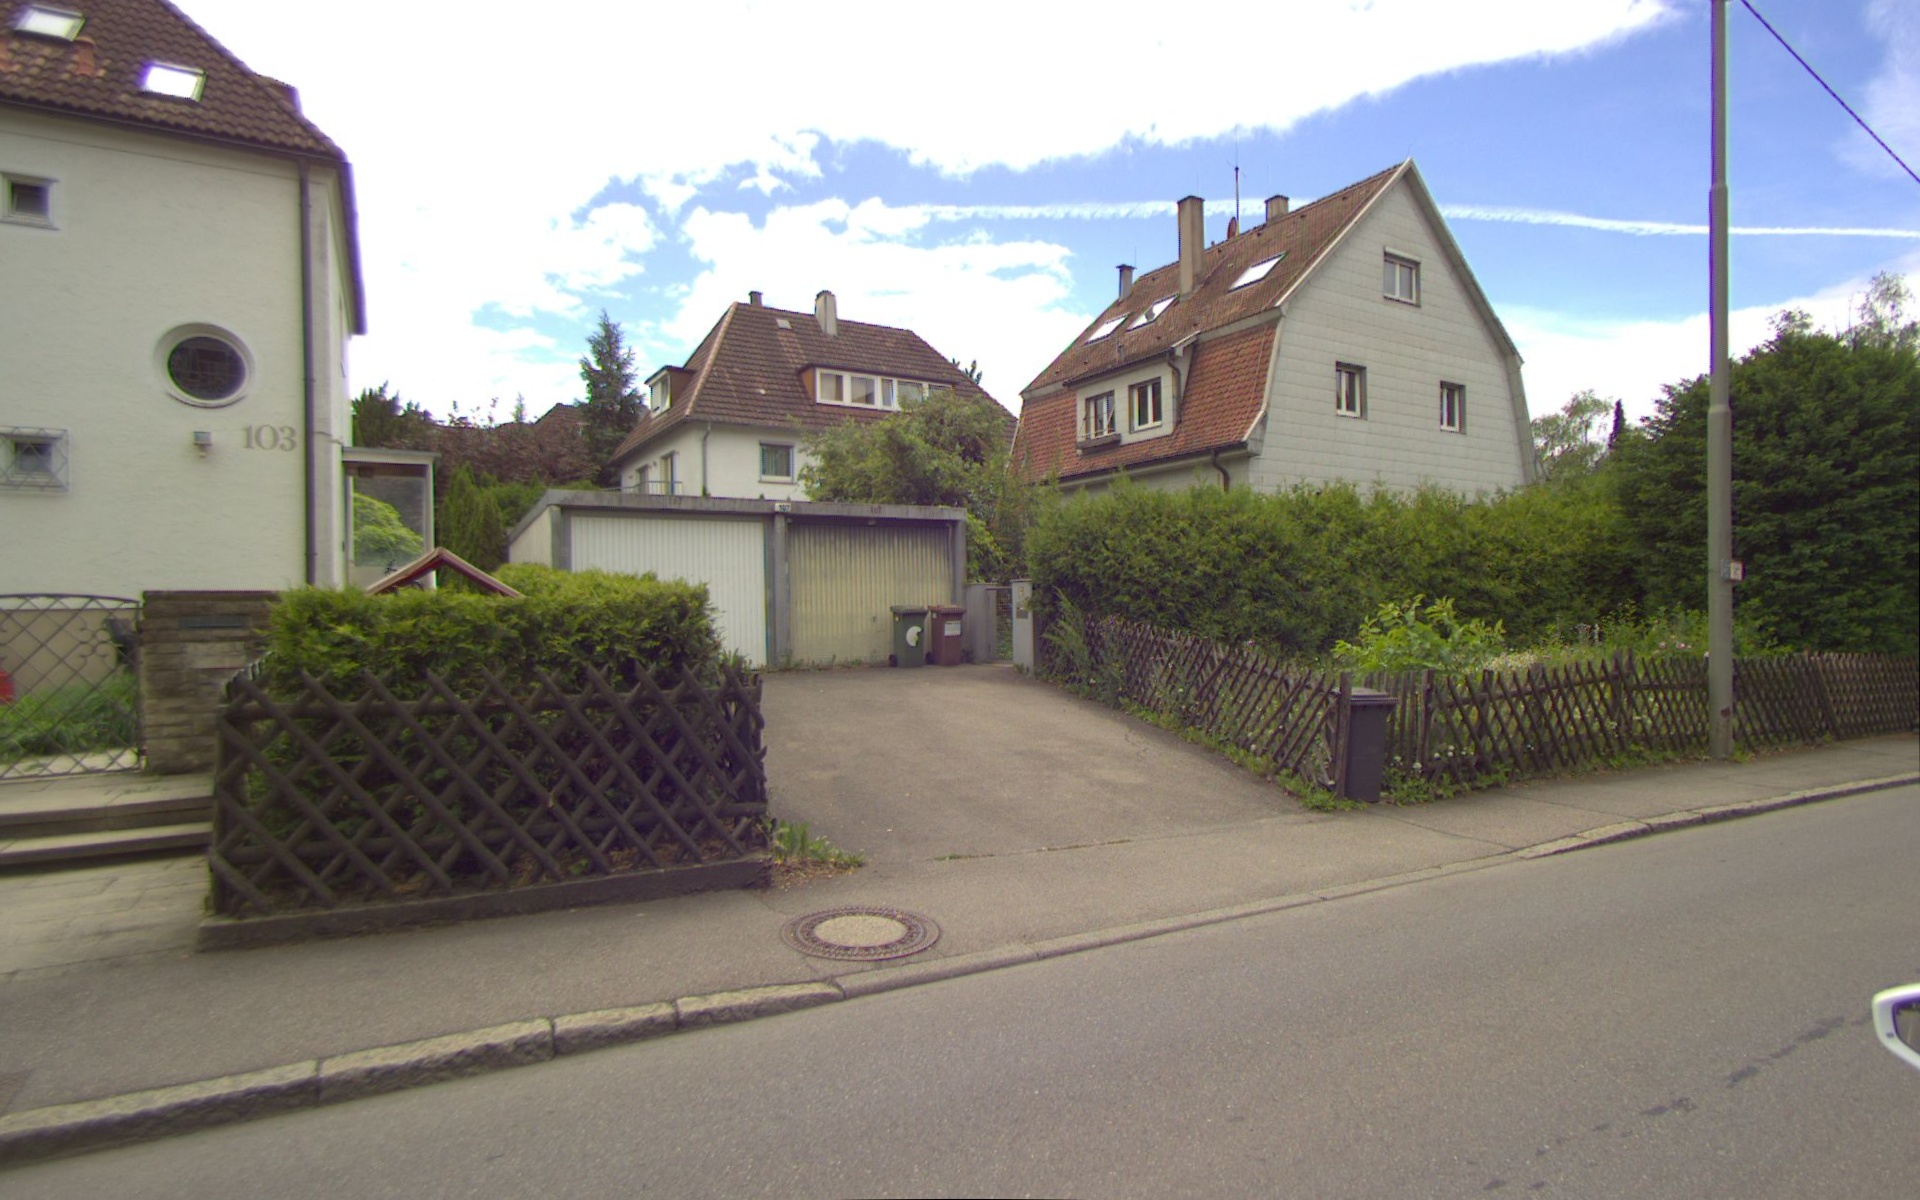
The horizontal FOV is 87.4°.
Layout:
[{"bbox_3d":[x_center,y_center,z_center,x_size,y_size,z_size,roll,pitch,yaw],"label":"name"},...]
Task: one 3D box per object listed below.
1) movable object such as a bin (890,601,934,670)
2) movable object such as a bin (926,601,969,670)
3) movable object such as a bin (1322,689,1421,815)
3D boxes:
[{"bbox_3d":[-0.739,0.530,15.311,0.494,1.027,0.490,-2,1,-27],"label":"movable object such as a bin"},{"bbox_3d":[-0.200,0.543,15.620,0.494,1.027,0.490,-2,1,-27],"label":"movable object such as a bin"},{"bbox_3d":[3.412,1.237,8.340,0.531,0.950,0.548,1,-1,-28],"label":"movable object such as a bin"}]
